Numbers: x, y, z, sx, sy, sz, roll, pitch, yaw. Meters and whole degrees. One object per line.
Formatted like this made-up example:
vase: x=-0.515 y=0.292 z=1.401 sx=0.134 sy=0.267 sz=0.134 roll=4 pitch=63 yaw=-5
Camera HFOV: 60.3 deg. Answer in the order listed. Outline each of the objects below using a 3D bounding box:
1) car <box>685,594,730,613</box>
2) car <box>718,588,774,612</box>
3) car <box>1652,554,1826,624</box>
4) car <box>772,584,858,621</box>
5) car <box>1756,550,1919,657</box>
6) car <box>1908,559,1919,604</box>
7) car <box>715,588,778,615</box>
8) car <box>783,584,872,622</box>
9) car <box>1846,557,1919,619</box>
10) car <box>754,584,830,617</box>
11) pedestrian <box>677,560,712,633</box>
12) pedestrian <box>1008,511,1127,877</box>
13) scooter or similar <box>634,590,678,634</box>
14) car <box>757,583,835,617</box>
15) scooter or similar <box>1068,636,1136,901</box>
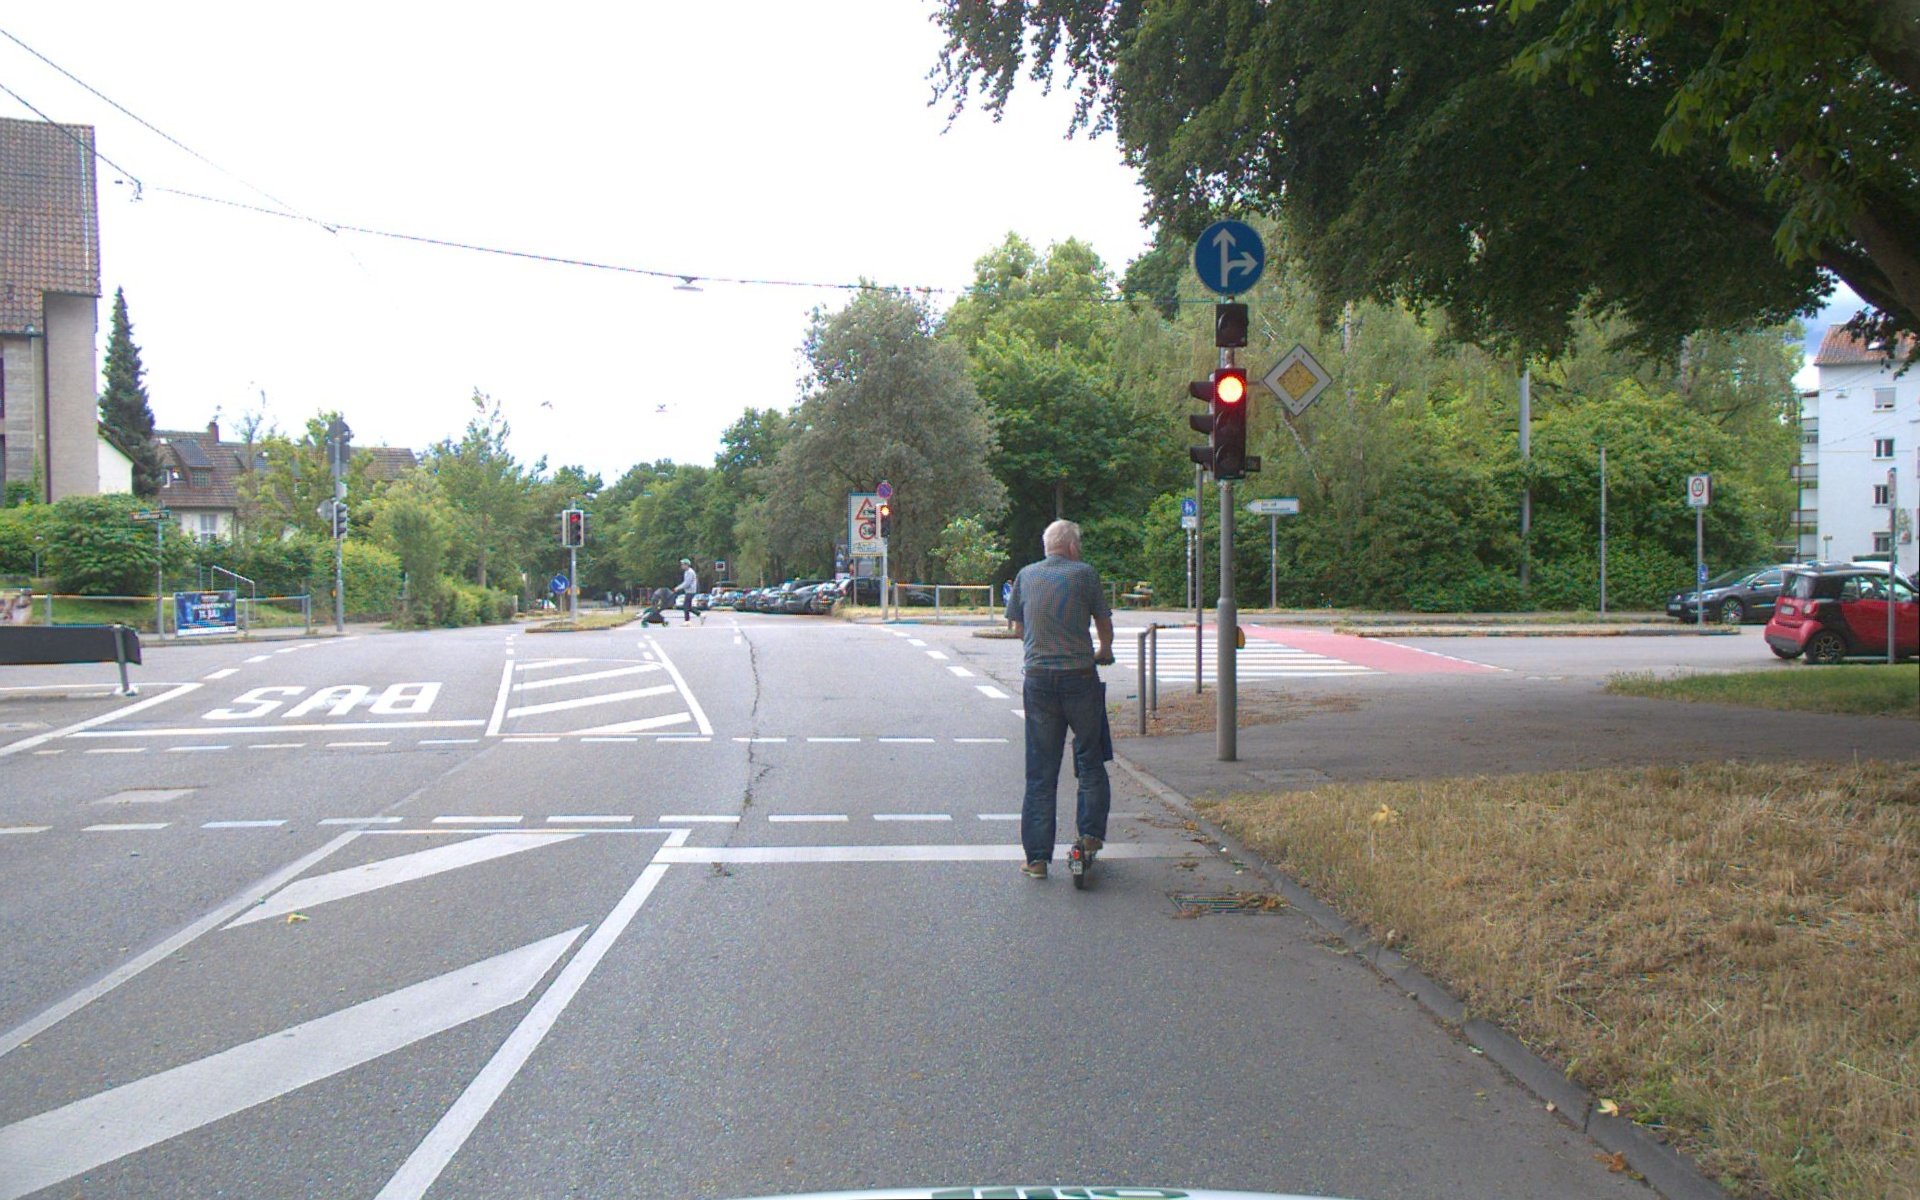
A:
car: x=-23.627 y=0.294 z=154.748 sx=3.791 sy=1.639 sz=1.715 roll=-2 pitch=1 yaw=-24
car: x=-15.889 y=-0.013 z=122.719 sx=3.791 sy=1.639 sz=1.715 roll=-2 pitch=1 yaw=-24
car: x=18.999 y=-0.278 z=40.435 sx=3.444 sy=1.557 sz=1.729 roll=-2 pitch=1 yaw=5
car: x=-7.022 y=0.109 z=80.294 sx=3.791 sy=1.639 sz=1.715 roll=-2 pitch=1 yaw=-24
car: x=15.150 y=0.022 z=27.018 sx=3.444 sy=1.639 sz=1.729 roll=-2 pitch=1 yaw=4
car: x=35.611 y=-0.676 z=59.699 sx=1.686 sy=1.639 sz=3.856 roll=-2 pitch=1 yaw=19
car: x=-14.186 y=0.100 z=109.782 sx=3.791 sy=1.639 sz=1.715 roll=-2 pitch=1 yaw=-24
car: x=-6.219 y=0.121 z=77.767 sx=3.793 sy=1.639 sz=1.715 roll=-2 pitch=1 yaw=-25
car: x=26.226 y=-0.363 z=47.042 sx=1.689 sy=1.639 sz=3.850 roll=-1 pitch=1 yaw=27
car: x=-9.137 y=-0.001 z=90.015 sx=3.791 sy=1.639 sz=1.715 roll=-2 pitch=1 yaw=-24
pedestrian: x=-6.964 y=-0.097 z=43.313 sx=0.868 sy=1.895 sz=0.573 roll=-1 pitch=0 yaw=-10
pedestrian: x=0.563 y=0.475 z=8.576 sx=0.560 sy=1.845 sz=0.421 roll=-1 pitch=0 yaw=7
scooter or similar: x=-7.926 y=0.308 z=43.162 sx=1.087 sy=1.100 sz=0.576 roll=-1 pitch=0 yaw=-8
car: x=-8.689 y=0.008 z=87.611 sx=3.791 sy=1.639 sz=1.715 roll=-2 pitch=1 yaw=-24
scooter or similar: x=0.730 y=0.806 z=8.349 sx=0.276 sy=1.199 sz=1.178 roll=-1 pitch=1 yaw=7
